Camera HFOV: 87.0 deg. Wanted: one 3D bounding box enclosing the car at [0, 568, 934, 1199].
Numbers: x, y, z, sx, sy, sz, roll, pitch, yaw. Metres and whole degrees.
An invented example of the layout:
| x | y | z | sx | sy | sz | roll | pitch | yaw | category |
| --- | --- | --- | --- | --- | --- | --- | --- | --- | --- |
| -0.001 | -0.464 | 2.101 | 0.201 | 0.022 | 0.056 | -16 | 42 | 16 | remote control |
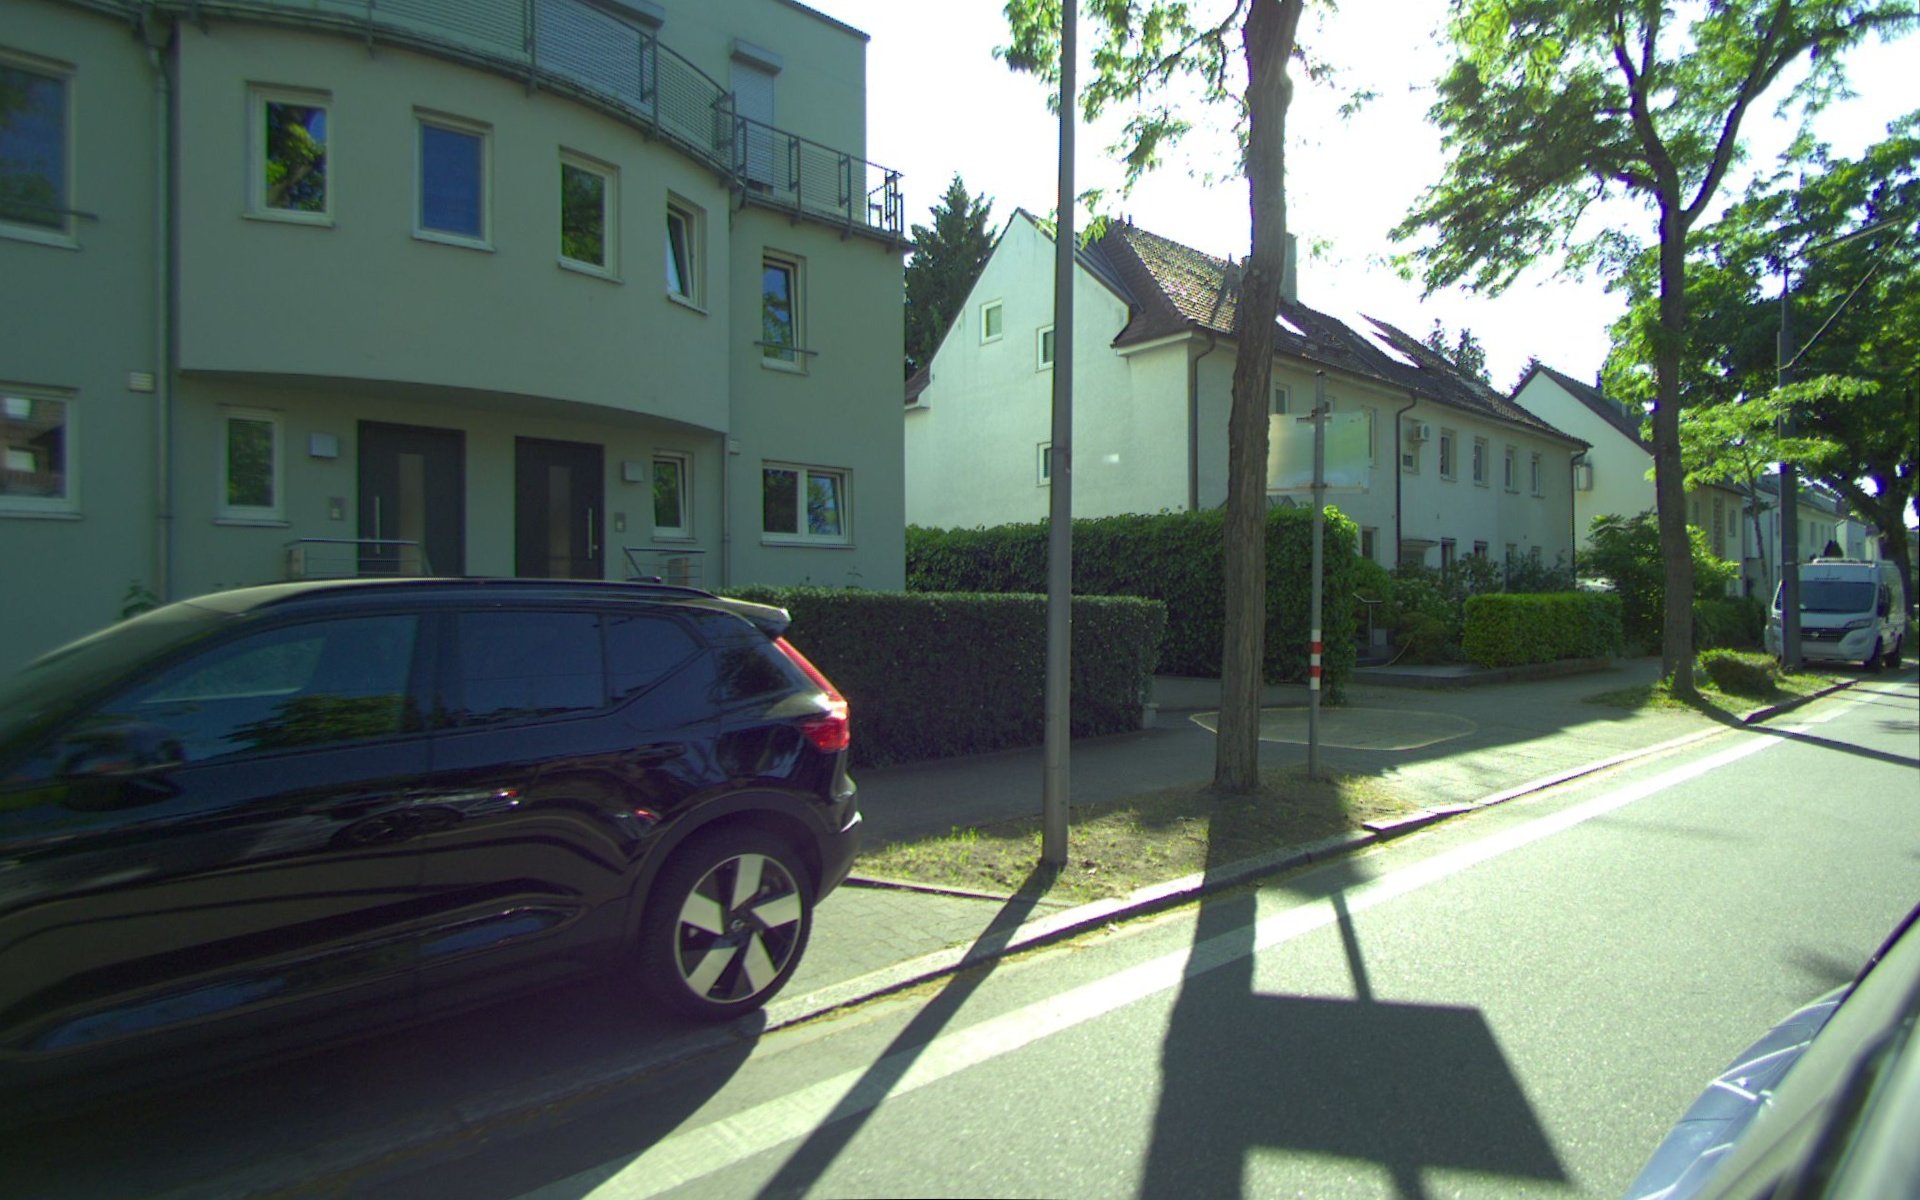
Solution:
| x | y | z | sx | sy | sz | roll | pitch | yaw | category |
| --- | --- | --- | --- | --- | --- | --- | --- | --- | --- |
| -2.421 | 0.691 | 3.567 | 4.571 | 1.537 | 1.877 | -1 | 0 | -43 | car |

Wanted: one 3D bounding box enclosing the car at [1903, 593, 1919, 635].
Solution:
| x | y | z | sx | sy | sz | roll | pitch | yaw | category |
| --- | --- | --- | --- | --- | --- | --- | --- | --- | --- |
| 37.268 | 0.520 | 38.307 | 3.926 | 1.555 | 1.664 | 0 | 0 | -37 | car |

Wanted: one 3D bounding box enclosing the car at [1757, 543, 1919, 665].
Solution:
| x | y | z | sx | sy | sz | roll | pitch | yaw | category |
| --- | --- | --- | --- | --- | --- | --- | --- | --- | --- |
| 21.375 | 0.060 | 24.459 | 5.619 | 2.623 | 2.295 | -1 | 0 | -41 | car |
